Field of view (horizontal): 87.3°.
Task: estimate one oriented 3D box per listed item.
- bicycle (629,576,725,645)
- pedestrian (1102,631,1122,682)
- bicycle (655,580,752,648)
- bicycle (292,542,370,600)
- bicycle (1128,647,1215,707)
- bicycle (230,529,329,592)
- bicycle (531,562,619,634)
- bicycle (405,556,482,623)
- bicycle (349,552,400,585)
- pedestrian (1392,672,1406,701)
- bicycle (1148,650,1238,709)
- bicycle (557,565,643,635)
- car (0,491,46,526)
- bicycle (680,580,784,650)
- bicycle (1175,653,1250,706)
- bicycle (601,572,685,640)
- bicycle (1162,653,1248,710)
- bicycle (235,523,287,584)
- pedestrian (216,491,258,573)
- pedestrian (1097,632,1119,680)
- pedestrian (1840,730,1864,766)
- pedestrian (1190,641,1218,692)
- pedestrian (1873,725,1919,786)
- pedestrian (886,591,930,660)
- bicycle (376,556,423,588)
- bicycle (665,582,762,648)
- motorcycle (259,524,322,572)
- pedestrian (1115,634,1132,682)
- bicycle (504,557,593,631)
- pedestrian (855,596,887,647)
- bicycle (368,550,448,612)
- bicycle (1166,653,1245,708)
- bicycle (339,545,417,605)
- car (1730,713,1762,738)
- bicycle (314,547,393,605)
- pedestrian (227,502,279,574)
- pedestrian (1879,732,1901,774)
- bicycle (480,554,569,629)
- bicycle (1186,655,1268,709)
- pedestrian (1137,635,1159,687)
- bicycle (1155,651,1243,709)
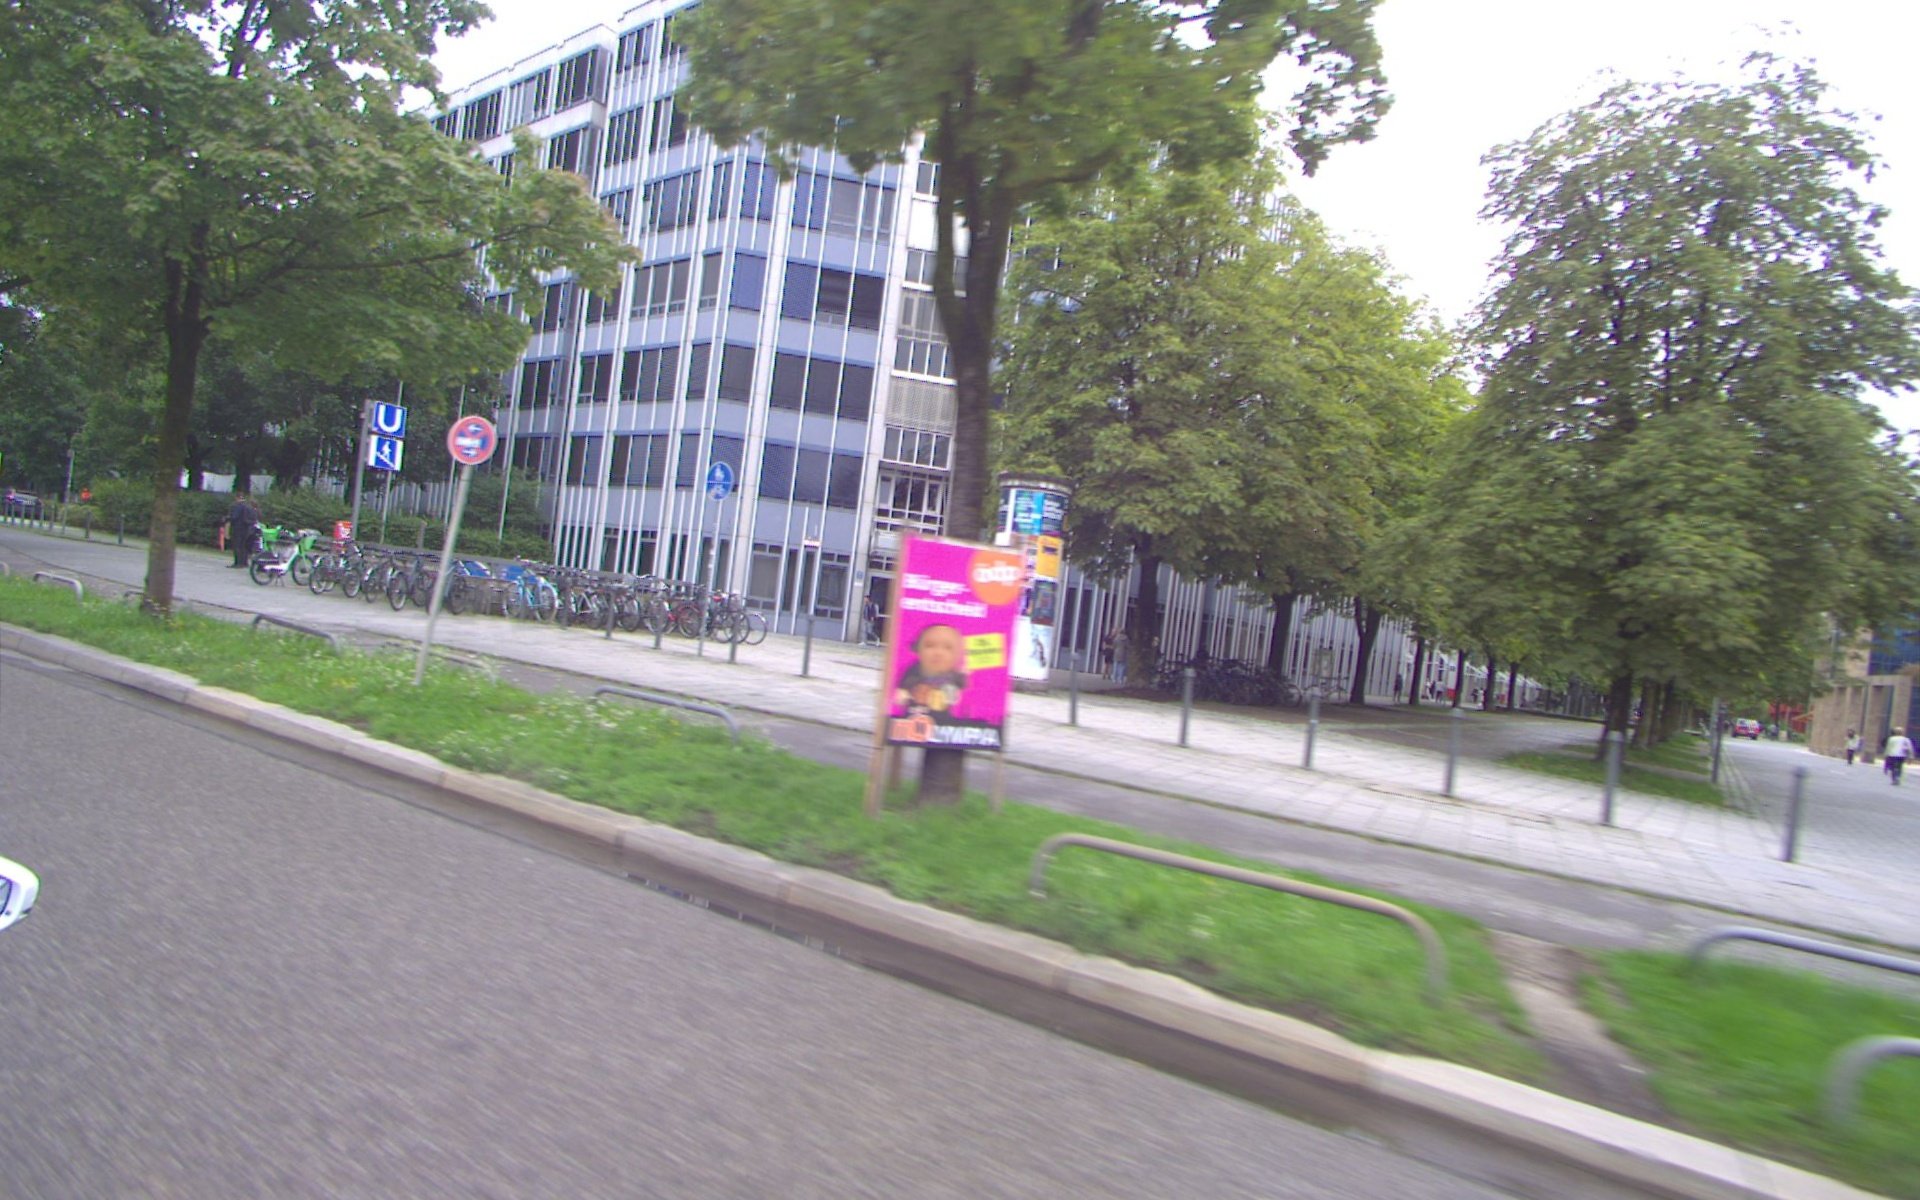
[{"bbox_3d":[-5.996,0.207,21.282,2.104,1.203,0.446,7,0,27],"label":"bicycle"},{"bbox_3d":[4.949,1.843,32.782,0.307,1.591,0.350,6,1,-39],"label":"pedestrian"},{"bbox_3d":[-5.536,0.299,21.643,2.104,1.203,0.512,7,0,27],"label":"bicycle"},{"bbox_3d":[-13.481,-0.646,21.609,0.570,1.123,1.949,7,3,-7],"label":"bicycle"},{"bbox_3d":[5.549,2.005,26.394,2.020,1.276,0.607,7,0,29],"label":"bicycle"},{"bbox_3d":[-14.402,-0.824,21.364,0.586,1.205,1.953,7,2,3],"label":"bicycle"},{"bbox_3d":[-7.581,-0.056,19.780,1.923,1.203,0.488,7,0,34],"label":"bicycle"},{"bbox_3d":[-9.473,-0.211,18.530,0.570,1.114,2.028,4,1,-8],"label":"bicycle"},{"bbox_3d":[-19.532,-1.051,33.548,1.804,0.864,0.683,8,1,33],"label":"bicycle"},{"bbox_3d":[26.202,5.183,60.048,0.477,1.678,0.482,7,0,34],"label":"pedestrian"},{"bbox_3d":[6.186,2.104,26.768,2.137,1.276,0.509,7,0,27],"label":"bicycle"},{"bbox_3d":[-7.290,-0.006,20.313,1.923,1.203,0.488,7,0,34],"label":"bicycle"},{"bbox_3d":[-58.303,-5.683,62.070,4.402,1.840,1.842,6,0,36],"label":"car"},{"bbox_3d":[-5.267,0.328,23.149,2.435,1.310,0.509,7,0,27],"label":"bicycle"},{"bbox_3d":[7.331,2.292,29.246,1.920,1.276,0.509,7,0,27],"label":"bicycle"},{"bbox_3d":[-6.587,0.107,20.861,1.923,1.203,0.446,7,0,34],"label":"bicycle"},{"bbox_3d":[6.818,2.261,28.008,2.137,1.276,0.509,7,0,27],"label":"bicycle"},{"bbox_3d":[-16.351,-1.101,23.521,1.835,1.243,0.529,9,4,42],"label":"bicycle"},{"bbox_3d":[-17.919,-1.675,24.936,0.648,1.923,0.741,6,1,-38],"label":"pedestrian"},{"bbox_3d":[4.887,1.846,33.191,0.389,1.510,0.383,7,1,45],"label":"pedestrian"},{"bbox_3d":[41.674,6.905,47.021,0.415,1.588,0.592,6,1,-27],"label":"pedestrian"},{"bbox_3d":[8.515,2.326,35.098,0.615,1.678,0.590,7,0,34],"label":"pedestrian"},{"bbox_3d":[28.440,4.712,30.549,0.852,1.699,0.587,7,1,37],"label":"pedestrian"},{"bbox_3d":[-1.437,0.713,27.872,0.684,1.794,0.760,6,1,-42],"label":"pedestrian"},{"bbox_3d":[-19.058,-0.948,34.216,1.804,0.864,0.552,8,1,33],"label":"bicycle"},{"bbox_3d":[-5.504,0.326,22.402,2.104,1.203,0.578,7,0,27],"label":"bicycle"},{"bbox_3d":[-21.767,-1.702,32.693,2.036,1.335,0.550,7,0,23],"label":"motorcycle"},{"bbox_3d":[5.311,1.889,32.664,0.342,1.510,0.346,7,0,3],"label":"pedestrian"},{"bbox_3d":[-7.907,-0.125,19.301,1.923,1.203,0.488,7,0,34],"label":"bicycle"},{"bbox_3d":[-3.100,0.747,35.088,0.648,1.699,0.691,6,1,-40],"label":"pedestrian"},{"bbox_3d":[-10.680,-0.362,19.532,0.594,1.103,2.037,4,1,-7],"label":"bicycle"},{"bbox_3d":[6.984,2.281,28.613,1.987,1.276,0.509,7,0,27],"label":"bicycle"},{"bbox_3d":[-11.598,-0.509,20.100,0.570,1.080,1.950,5,2,-7],"label":"bicycle"},{"bbox_3d":[78.156,12.456,100.004,1.974,2.036,3.982,5,-4,44],"label":"car"},{"bbox_3d":[-12.648,-0.523,21.046,0.587,1.097,1.950,7,2,-7],"label":"bicycle"},{"bbox_3d":[-18.211,-1.582,25.925,0.774,1.735,0.747,7,0,-21],"label":"pedestrian"},{"bbox_3d":[37.886,6.230,40.983,0.503,1.651,0.507,6,1,-45],"label":"pedestrian"},{"bbox_3d":[-8.179,-0.171,18.859,1.923,1.203,0.488,7,0,34],"label":"bicycle"},{"bbox_3d":[7.848,2.400,29.638,2.137,1.276,0.553,7,0,27],"label":"bicycle"},{"bbox_3d":[5.959,1.944,31.885,0.402,1.591,0.347,7,1,36],"label":"pedestrian"},{"bbox_3d":[6.462,2.145,27.277,2.137,1.276,0.509,7,0,27],"label":"bicycle"}]
